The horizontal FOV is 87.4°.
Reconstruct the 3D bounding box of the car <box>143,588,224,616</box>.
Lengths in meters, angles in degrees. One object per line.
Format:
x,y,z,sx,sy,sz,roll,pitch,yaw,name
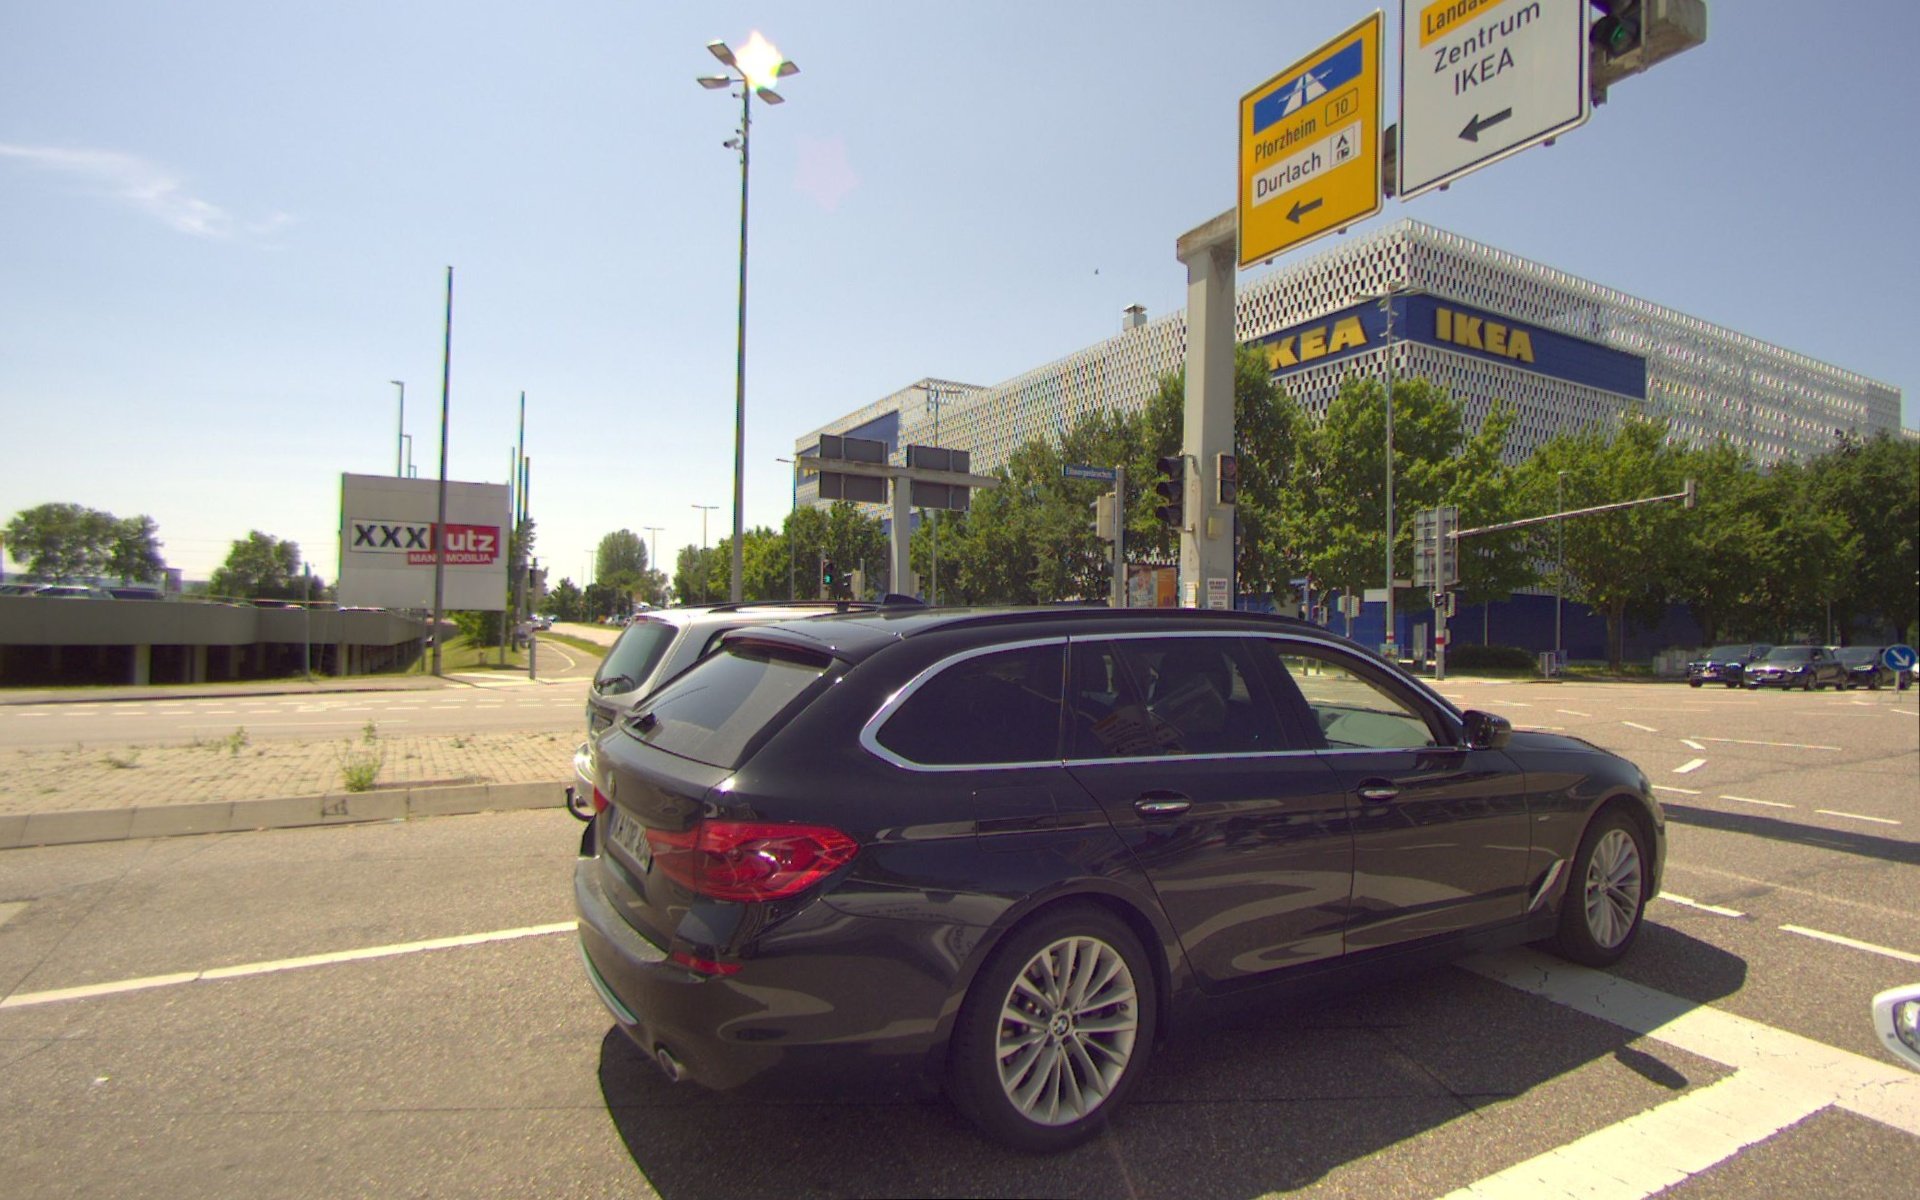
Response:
-52.799,0.151,68.430,4.086,1.764,1.770,2,-2,-30,car

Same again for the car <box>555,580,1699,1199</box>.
0.914,0.756,4.064,4.505,1.459,1.788,2,-1,-31,car

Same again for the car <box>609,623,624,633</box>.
-55.292,4.555,161.634,1.608,1.629,3.471,2,-2,-29,car

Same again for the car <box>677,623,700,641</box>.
-30.764,3.607,113.757,1.750,2.040,3.813,1,-2,-26,car

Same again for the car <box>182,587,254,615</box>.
-58.425,0.076,79.155,4.278,2.040,1.985,2,-2,-30,car

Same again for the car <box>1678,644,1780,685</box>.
28.694,2.417,37.479,3.992,1.442,1.653,3,-3,-31,car

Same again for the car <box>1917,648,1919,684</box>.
42.016,2.758,41.799,4.660,1.464,1.720,2,-4,-28,car

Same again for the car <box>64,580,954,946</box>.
-2.169,0.669,5.648,3.959,1.441,1.685,1,0,-29,car

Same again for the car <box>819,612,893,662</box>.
-4.990,1.724,47.349,1.973,2.212,5.019,1,-2,-25,car

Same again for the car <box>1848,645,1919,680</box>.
42.335,2.863,45.792,3.870,1.505,1.642,3,-3,-31,car

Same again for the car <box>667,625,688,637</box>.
-38.688,4.290,137.499,1.975,1.572,3.972,2,-2,-27,car

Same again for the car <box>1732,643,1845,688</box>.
27.164,2.166,32.911,3.671,1.407,1.637,3,-4,-30,car

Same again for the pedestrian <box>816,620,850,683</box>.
-3.695,1.481,29.161,0.816,1.807,0.601,2,-2,-27,pedestrian

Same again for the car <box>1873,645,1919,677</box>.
46.623,3.004,49.206,3.954,1.505,1.735,3,-3,-31,car

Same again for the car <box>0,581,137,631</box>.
-39.271,0.309,44.311,4.284,2.040,1.982,2,-2,-34,car

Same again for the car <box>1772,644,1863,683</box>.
35.651,2.643,41.739,3.870,1.564,1.718,3,-3,-31,car

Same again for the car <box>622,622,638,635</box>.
-49.078,4.237,149.342,1.607,1.938,3.474,1,-2,-27,car

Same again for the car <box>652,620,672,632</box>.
-42.874,3.739,144.440,1.976,1.572,3.970,2,-2,-29,car

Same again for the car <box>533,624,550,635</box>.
-57.589,4.033,138.282,1.836,1.528,3.971,2,-2,-28,car

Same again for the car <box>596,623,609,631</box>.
-60.575,4.560,170.268,1.608,1.368,3.472,2,-2,-29,car

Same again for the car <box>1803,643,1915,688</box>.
32.389,2.367,36.173,4.193,1.524,1.719,3,-4,-30,car

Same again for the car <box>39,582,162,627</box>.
-41.987,0.279,49.223,4.285,2.040,1.981,2,-2,-34,car

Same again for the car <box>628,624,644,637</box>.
-46.301,4.300,143.552,1.607,1.835,3.474,1,-2,-27,car
